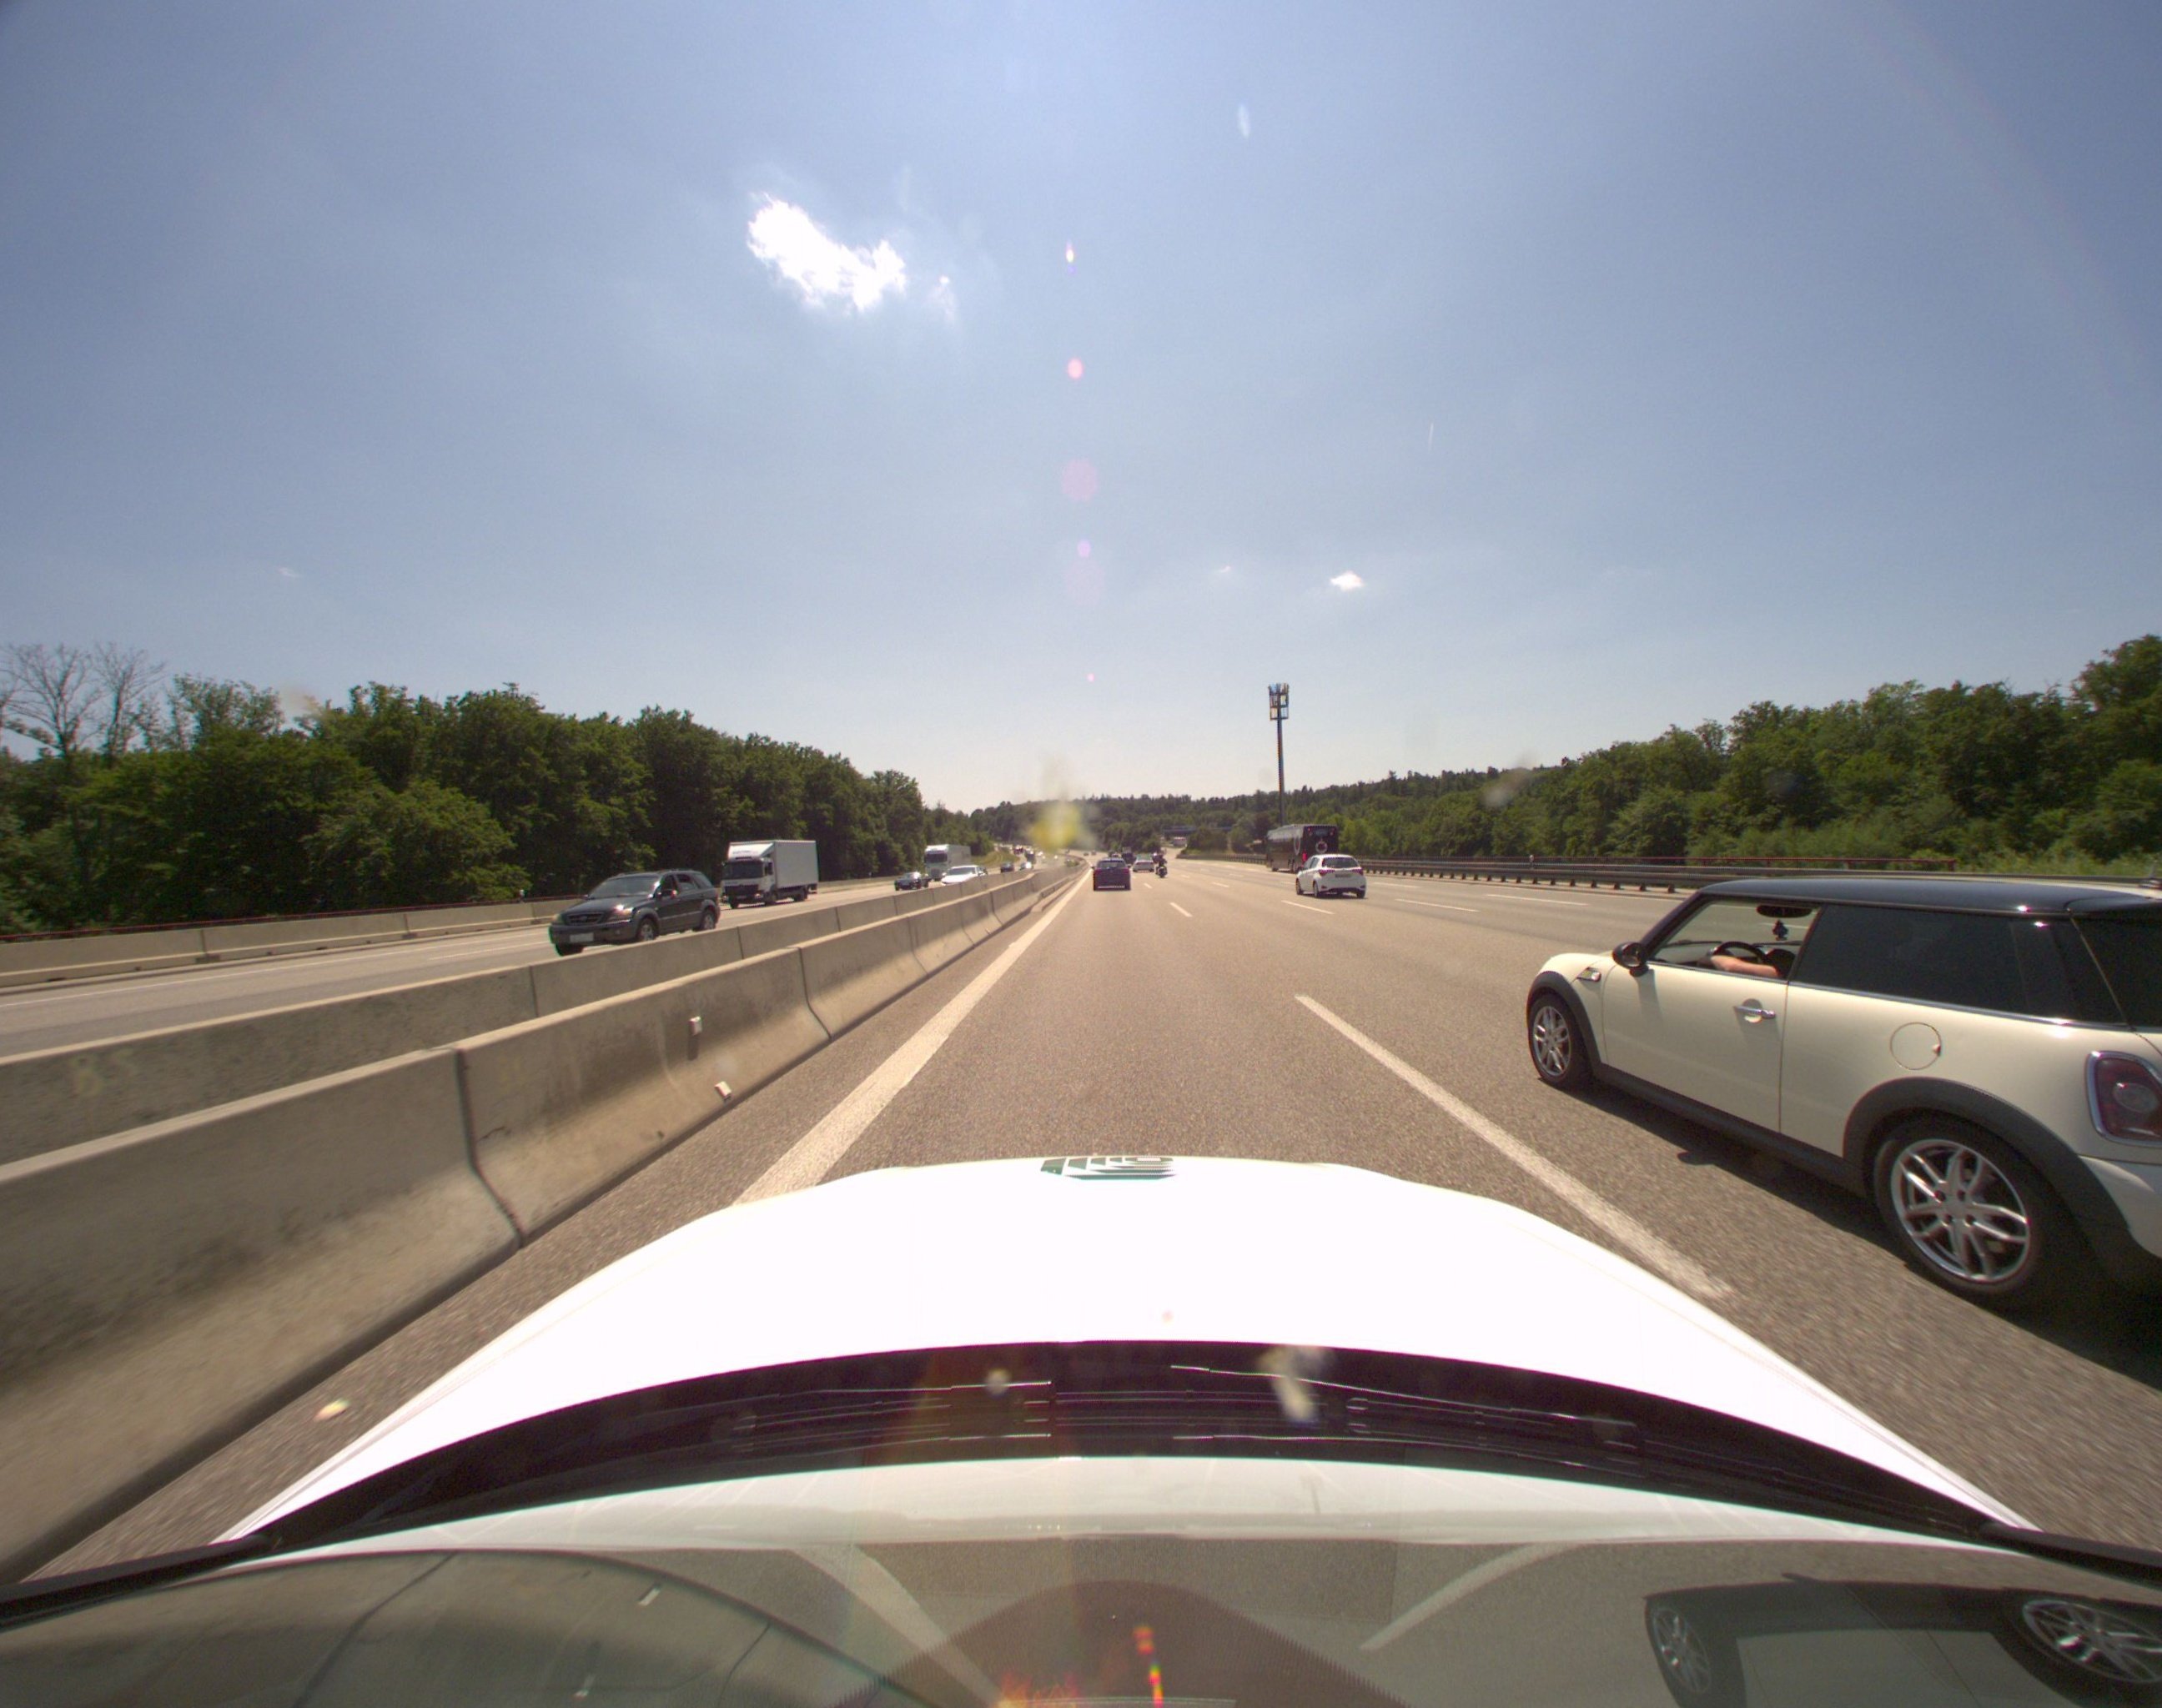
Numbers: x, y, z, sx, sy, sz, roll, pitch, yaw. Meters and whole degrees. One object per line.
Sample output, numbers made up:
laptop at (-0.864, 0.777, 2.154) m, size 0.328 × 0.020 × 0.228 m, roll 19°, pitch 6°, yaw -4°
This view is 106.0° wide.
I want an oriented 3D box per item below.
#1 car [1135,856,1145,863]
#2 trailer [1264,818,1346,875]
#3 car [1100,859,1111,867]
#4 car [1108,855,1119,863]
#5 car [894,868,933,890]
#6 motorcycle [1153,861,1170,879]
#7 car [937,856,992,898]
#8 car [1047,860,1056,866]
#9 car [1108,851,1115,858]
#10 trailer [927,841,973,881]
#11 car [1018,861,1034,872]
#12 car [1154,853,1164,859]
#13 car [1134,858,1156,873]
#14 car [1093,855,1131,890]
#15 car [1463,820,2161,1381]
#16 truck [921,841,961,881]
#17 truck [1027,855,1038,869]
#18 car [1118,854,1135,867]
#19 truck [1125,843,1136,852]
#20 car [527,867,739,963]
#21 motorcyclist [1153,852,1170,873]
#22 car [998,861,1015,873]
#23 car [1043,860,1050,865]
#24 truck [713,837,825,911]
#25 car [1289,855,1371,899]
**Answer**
car at (11.321, 0.996, 156.829) m, size 1.603 × 1.212 × 3.459 m, roll -3°, pitch 0°, yaw 0°
trailer at (16.711, -0.455, 62.054) m, size 2.846 × 3.688 × 13.548 m, roll -3°, pitch -1°, yaw 2°
car at (4.155, 1.473, 138.111) m, size 1.532 × 1.212 × 3.457 m, roll -3°, pitch 0°, yaw -2°
car at (7.137, 1.058, 178.202) m, size 1.989 × 1.684 × 4.420 m, roll -1°, pitch 1°, yaw -3°
car at (-12.161, 1.792, 59.362) m, size 1.791 × 1.376 × 4.533 m, roll -2°, pitch 0°, yaw 1°
motorcycle at (5.501, 1.075, 56.032) m, size 0.974 × 1.129 × 2.272 m, roll -3°, pitch 0°, yaw 2°
car at (-5.883, 1.113, 41.733) m, size 1.766 × 1.879 × 5.215 m, roll -1°, pitch 1°, yaw 3°
car at (-7.239, 2.223, 199.407) m, size 1.761 × 1.478 × 4.482 m, roll -3°, pitch 0°, yaw 1°
car at (9.644, 0.124, 259.330) m, size 1.989 × 2.013 × 4.670 m, roll -1°, pitch 1°, yaw -3°
trailer at (-15.595, 0.789, 98.433) m, size 2.633 × 4.224 × 14.365 m, roll -4°, pitch 0°, yaw 1°
car at (-7.767, 1.721, 114.676) m, size 1.791 × 1.481 × 4.722 m, roll -2°, pitch 0°, yaw 1°
car at (15.702, 0.395, 164.805) m, size 1.603 × 1.212 × 3.459 m, roll -3°, pitch 0°, yaw 0°
car at (5.996, 1.050, 76.456) m, size 1.776 × 1.265 × 3.461 m, roll -2°, pitch 0°, yaw 2°
car at (1.442, 0.870, 37.600) m, size 1.618 × 1.487 × 3.686 m, roll -1°, pitch -2°, yaw 2°
car at (3.807, 0.636, 4.289) m, size 1.834 × 1.551 × 4.003 m, roll -2°, pitch 2°, yaw 2°
truck at (-15.806, 0.776, 92.250) m, size 2.705 × 4.099 × 7.879 m, roll -4°, pitch 0°, yaw 1°
truck at (-14.679, 2.436, 246.292) m, size 2.649 × 4.025 × 5.510 m, roll -4°, pitch 0°, yaw 0°
car at (6.720, 1.004, 120.743) m, size 2.092 × 1.851 × 4.078 m, roll -2°, pitch 0°, yaw -2°
truck at (15.158, -2.032, 250.924) m, size 2.720 × 2.786 × 5.678 m, roll -1°, pitch 1°, yaw -3°
car at (-10.073, 1.270, 18.881) m, size 1.986 × 1.734 × 4.926 m, roll -4°, pitch 0°, yaw 1°
motorcyclist at (5.520, 0.581, 56.024) m, size 0.960 × 1.437 × 1.234 m, roll -1°, pitch 0°, yaw -3°
car at (-11.299, 2.032, 123.301) m, size 1.791 × 1.643 × 5.080 m, roll -5°, pitch -1°, yaw 1°
car at (-10.509, 2.583, 247.434) m, size 1.826 × 1.301 × 4.728 m, roll -2°, pitch 0°, yaw -1°
truck at (-17.090, 1.032, 45.322) m, size 2.530 × 3.571 × 8.578 m, roll -4°, pitch 0°, yaw 1°
car at (8.782, 0.754, 29.068) m, size 1.660 × 1.433 × 4.376 m, roll -1°, pitch 0°, yaw 1°
